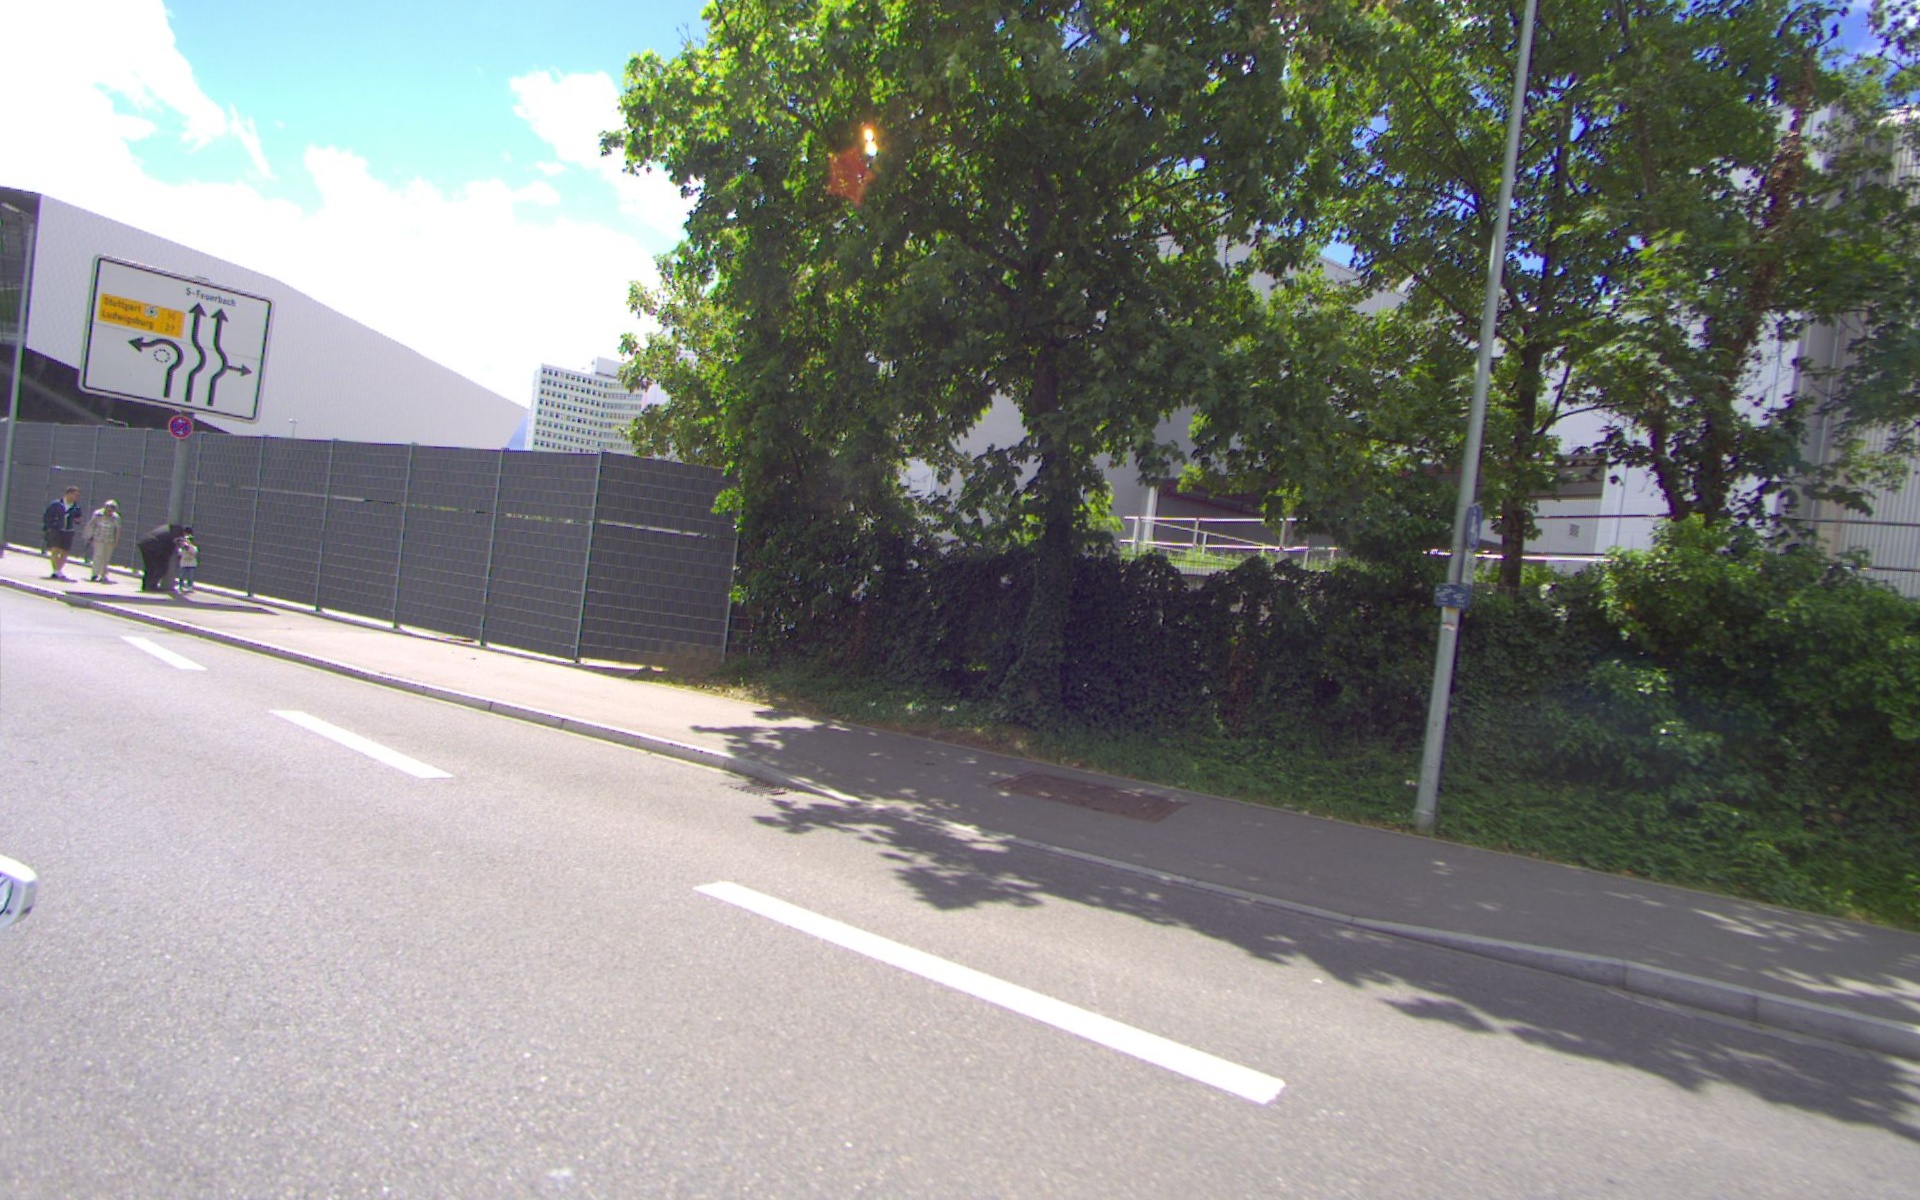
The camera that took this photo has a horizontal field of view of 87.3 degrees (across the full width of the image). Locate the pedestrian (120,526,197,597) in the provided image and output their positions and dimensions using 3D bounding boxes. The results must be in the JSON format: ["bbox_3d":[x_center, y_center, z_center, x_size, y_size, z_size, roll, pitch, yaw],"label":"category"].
[{"bbox_3d":[-14.938,-0.713,18.749,0.956,1.162,0.758,6,-1,33],"label":"pedestrian"}]

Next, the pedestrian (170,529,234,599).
[{"bbox_3d":[-14.705,-0.692,19.520,0.589,1.221,0.715,6,-1,33],"label":"pedestrian"}]

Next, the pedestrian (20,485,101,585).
[{"bbox_3d":[-16.948,-1.222,18.957,0.719,1.741,0.796,6,-1,29],"label":"pedestrian"}]

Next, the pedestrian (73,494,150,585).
[{"bbox_3d":[-16.602,-1.176,19.692,0.719,1.615,0.796,6,-1,29],"label":"pedestrian"}]
